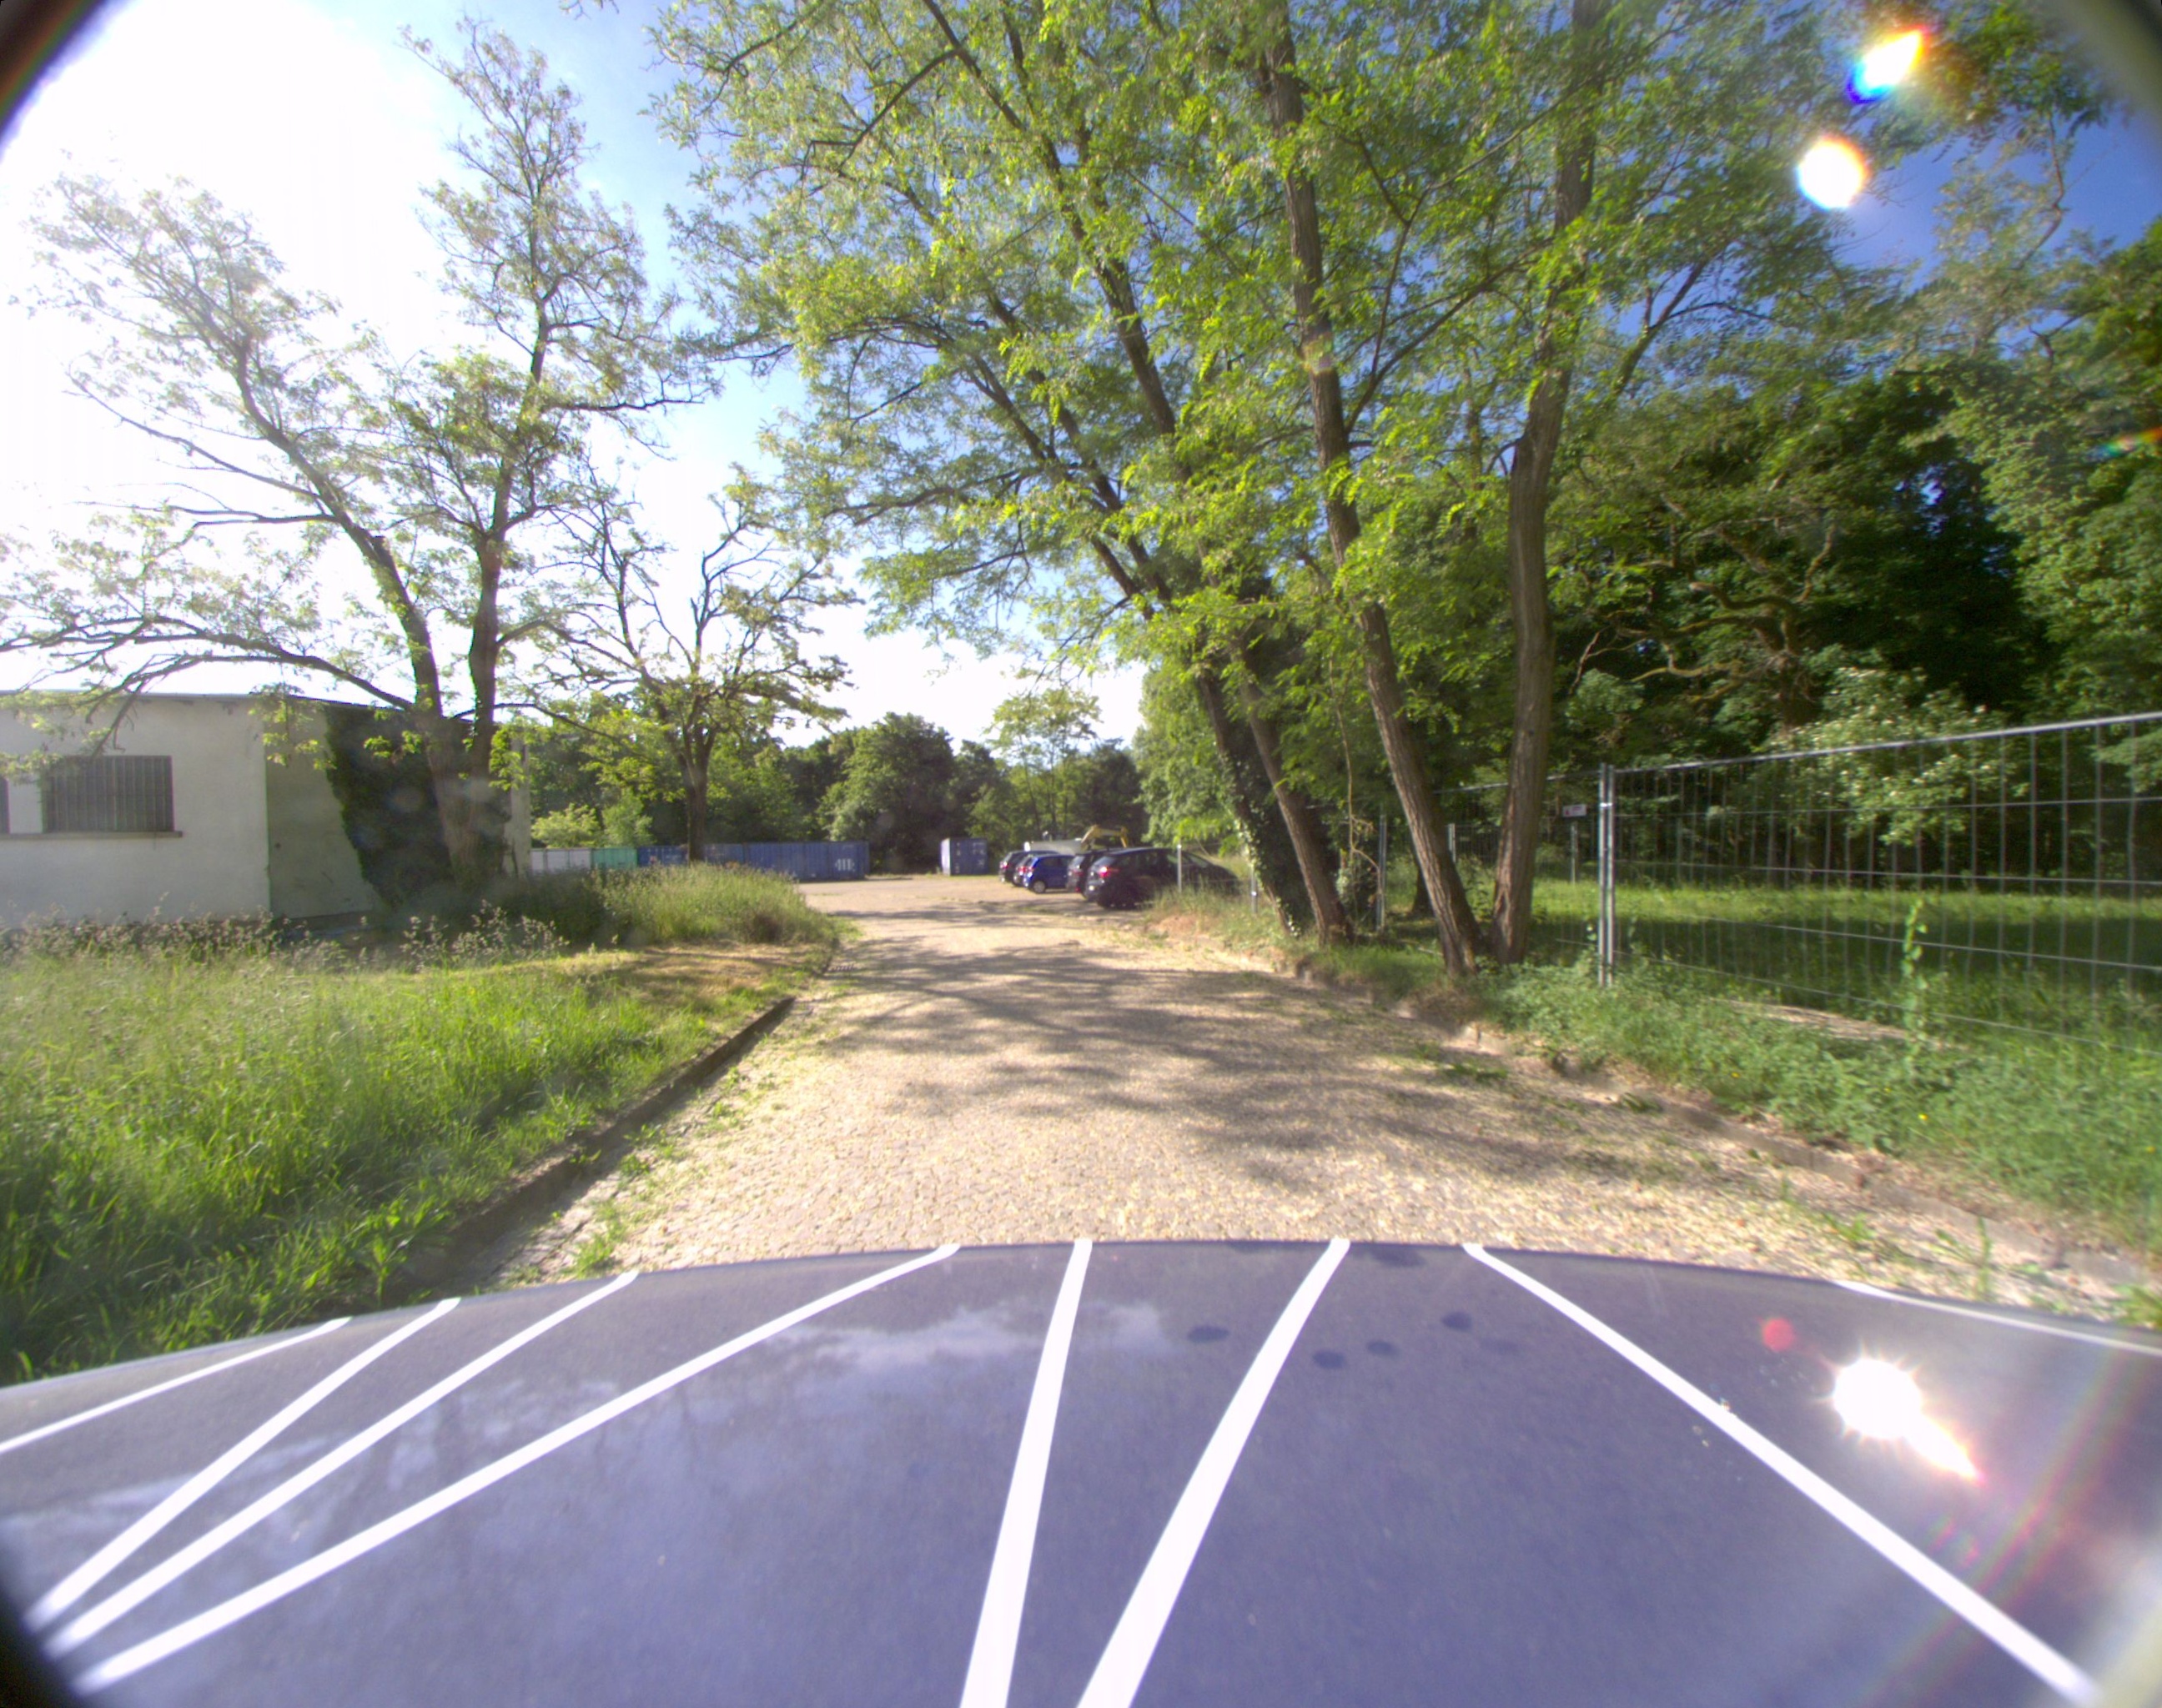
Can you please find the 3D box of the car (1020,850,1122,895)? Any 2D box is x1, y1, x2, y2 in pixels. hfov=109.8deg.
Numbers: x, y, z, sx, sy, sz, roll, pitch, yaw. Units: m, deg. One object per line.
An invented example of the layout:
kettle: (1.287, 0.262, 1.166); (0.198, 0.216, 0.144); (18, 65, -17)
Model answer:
car: (-0.416, 0.688, 29.691); (3.664, 1.484, 1.713); (-4, 1, -10)

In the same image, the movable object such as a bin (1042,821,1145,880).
movable object such as a bin: (0.634, -0.185, 40.719); (5.164, 2.949, 1.998); (-1, 1, -8)

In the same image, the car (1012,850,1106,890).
car: (-0.959, 0.653, 32.247); (3.664, 1.443, 1.832); (-3, 1, -13)

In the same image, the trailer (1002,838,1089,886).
trailer: (-1.790, 0.375, 37.526); (3.974, 2.082, 1.637); (-3, 1, -12)

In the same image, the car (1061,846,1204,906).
car: (1.632, 0.676, 24.608); (4.192, 1.646, 1.815); (-3, 1, -14)

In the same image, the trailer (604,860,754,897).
trailer: (-21.194, 1.249, 40.451); (6.495, 1.509, 2.851); (-2, 2, -13)

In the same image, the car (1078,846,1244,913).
car: (2.240, 0.669, 21.494); (4.303, 1.642, 1.790); (-2, 1, -18)

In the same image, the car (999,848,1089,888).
car: (-1.731, 0.621, 34.570); (3.821, 1.631, 1.866); (-2, 1, -11)
